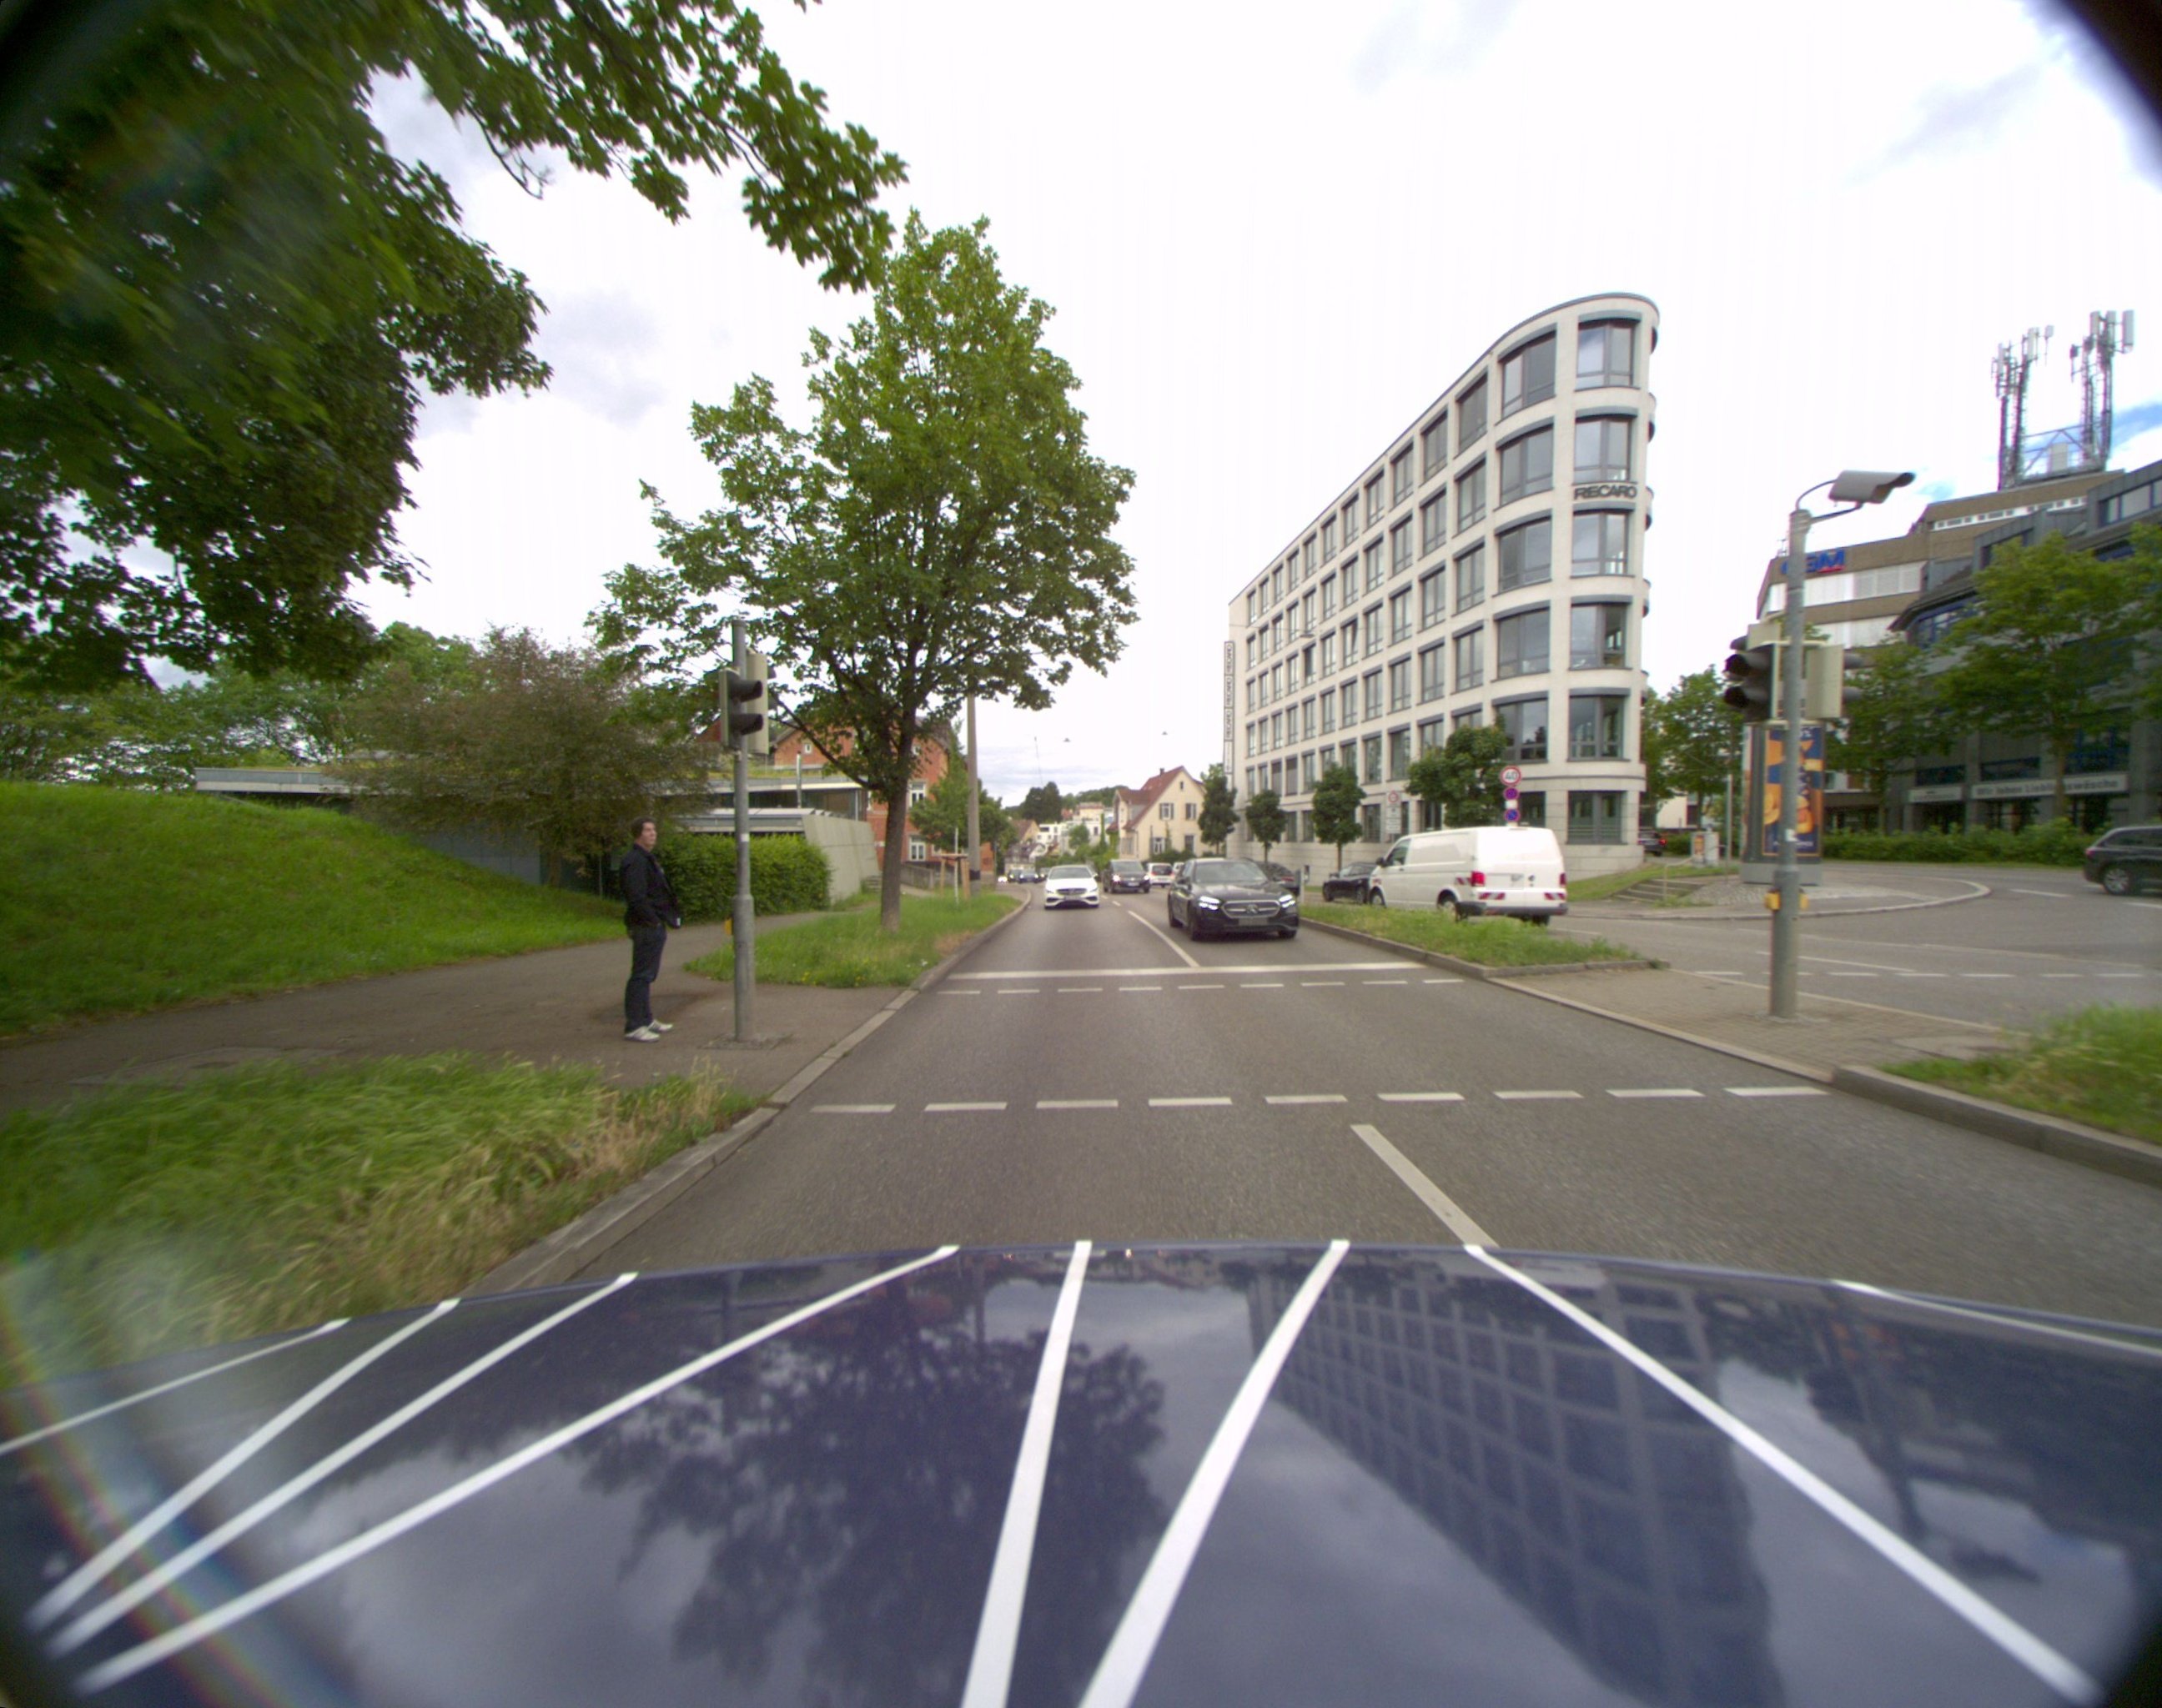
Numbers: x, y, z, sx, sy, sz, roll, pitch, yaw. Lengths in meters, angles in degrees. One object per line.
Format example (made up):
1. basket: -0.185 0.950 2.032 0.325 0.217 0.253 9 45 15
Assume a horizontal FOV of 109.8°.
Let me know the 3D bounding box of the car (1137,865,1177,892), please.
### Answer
1. car: 4.601 1.464 46.231 1.782 1.555 3.999 0 -1 -4

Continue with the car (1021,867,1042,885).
1. car: -4.864 2.099 74.366 1.713 1.679 3.790 0 0 -8

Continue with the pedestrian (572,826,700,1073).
1. pedestrian: -3.513 0.717 6.048 0.644 1.845 0.672 -1 0 -6

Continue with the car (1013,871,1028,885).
1. car: -7.762 3.003 97.422 1.713 1.679 3.790 0 0 -8

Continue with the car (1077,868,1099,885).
1. car: 0.668 2.260 76.573 1.776 1.561 4.284 2 -2 -4

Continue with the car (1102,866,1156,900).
1. car: 2.258 1.376 36.795 1.879 1.520 3.999 -1 -2 -7

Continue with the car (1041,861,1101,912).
1. car: -0.259 1.052 26.031 1.809 1.521 4.001 -3 0 2

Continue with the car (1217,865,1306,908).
1. car: 6.507 1.140 27.893 1.783 1.472 4.479 0 -1 -6

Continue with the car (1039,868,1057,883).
1. car: -3.874 2.505 89.547 1.713 1.679 3.790 0 0 -8

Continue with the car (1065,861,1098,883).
1. car: -0.007 1.289 53.551 1.879 1.520 3.999 -1 -2 -7

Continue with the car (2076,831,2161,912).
1. car: 21.111 0.339 13.620 1.778 1.455 4.445 -3 1 19

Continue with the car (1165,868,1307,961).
1. car: 2.846 1.083 14.938 1.878 1.520 4.336 -1 -2 0

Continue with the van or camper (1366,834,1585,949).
1. van or camper: 7.793 0.650 15.600 1.999 2.002 4.448 -1 0 -3

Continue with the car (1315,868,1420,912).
1. car: 9.832 1.192 26.419 1.789 1.370 3.949 -1 -1 -7

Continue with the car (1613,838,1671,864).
1. car: 36.573 -0.225 49.650 1.715 1.455 4.445 -3 1 19

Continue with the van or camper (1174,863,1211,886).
1. van or camper: 9.786 1.826 67.063 2.066 1.955 4.871 0 -2 -6
